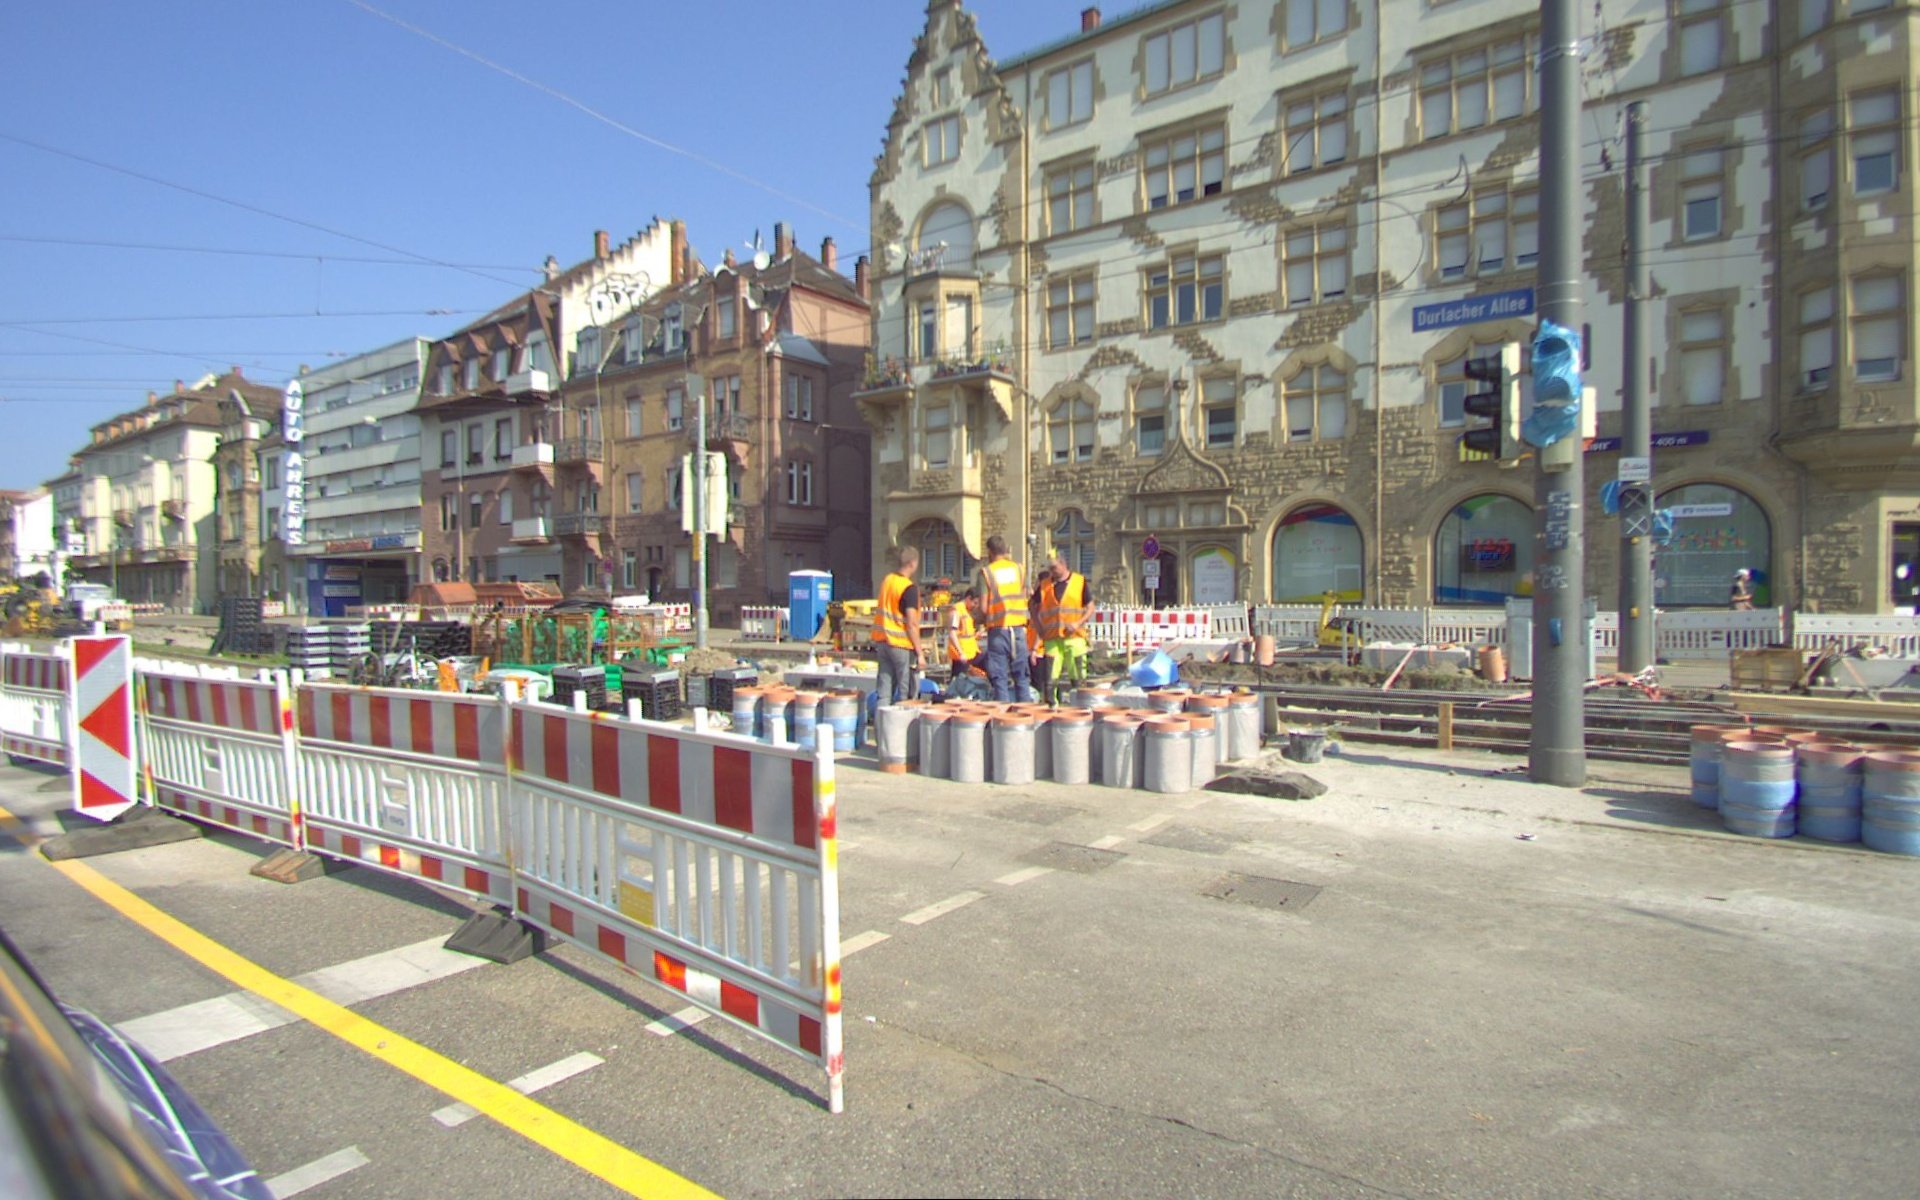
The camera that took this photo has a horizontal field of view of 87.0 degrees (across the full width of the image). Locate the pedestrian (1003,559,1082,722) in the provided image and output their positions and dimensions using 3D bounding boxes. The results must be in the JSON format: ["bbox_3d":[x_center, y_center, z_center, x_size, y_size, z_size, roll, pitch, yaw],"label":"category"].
[{"bbox_3d":[0.949,0.456,11.781,0.742,1.823,0.831,0,0,-8],"label":"pedestrian"}]

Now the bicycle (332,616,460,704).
[{"bbox_3d":[-7.846,0.798,14.049,1.958,1.107,0.559,1,2,28],"label":"bicycle"}]

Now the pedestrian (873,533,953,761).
[{"bbox_3d":[-0.407,0.404,9.026,0.675,1.941,0.714,0,0,0],"label":"pedestrian"}]

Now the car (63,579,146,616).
[{"bbox_3d":[-51.681,-0.156,61.075,7.110,2.151,2.339,0,0,37],"label":"car"}]

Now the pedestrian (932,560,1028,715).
[{"bbox_3d":[0.243,0.446,12.522,0.816,1.830,0.887,1,-1,-34],"label":"pedestrian"}]

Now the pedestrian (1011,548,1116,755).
[{"bbox_3d":[0.997,0.472,9.704,0.711,1.884,0.708,1,-1,-45],"label":"pedestrian"}]

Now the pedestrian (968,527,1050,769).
[{"bbox_3d":[0.414,0.404,8.879,0.665,2.030,0.697,0,0,0],"label":"pedestrian"}]
